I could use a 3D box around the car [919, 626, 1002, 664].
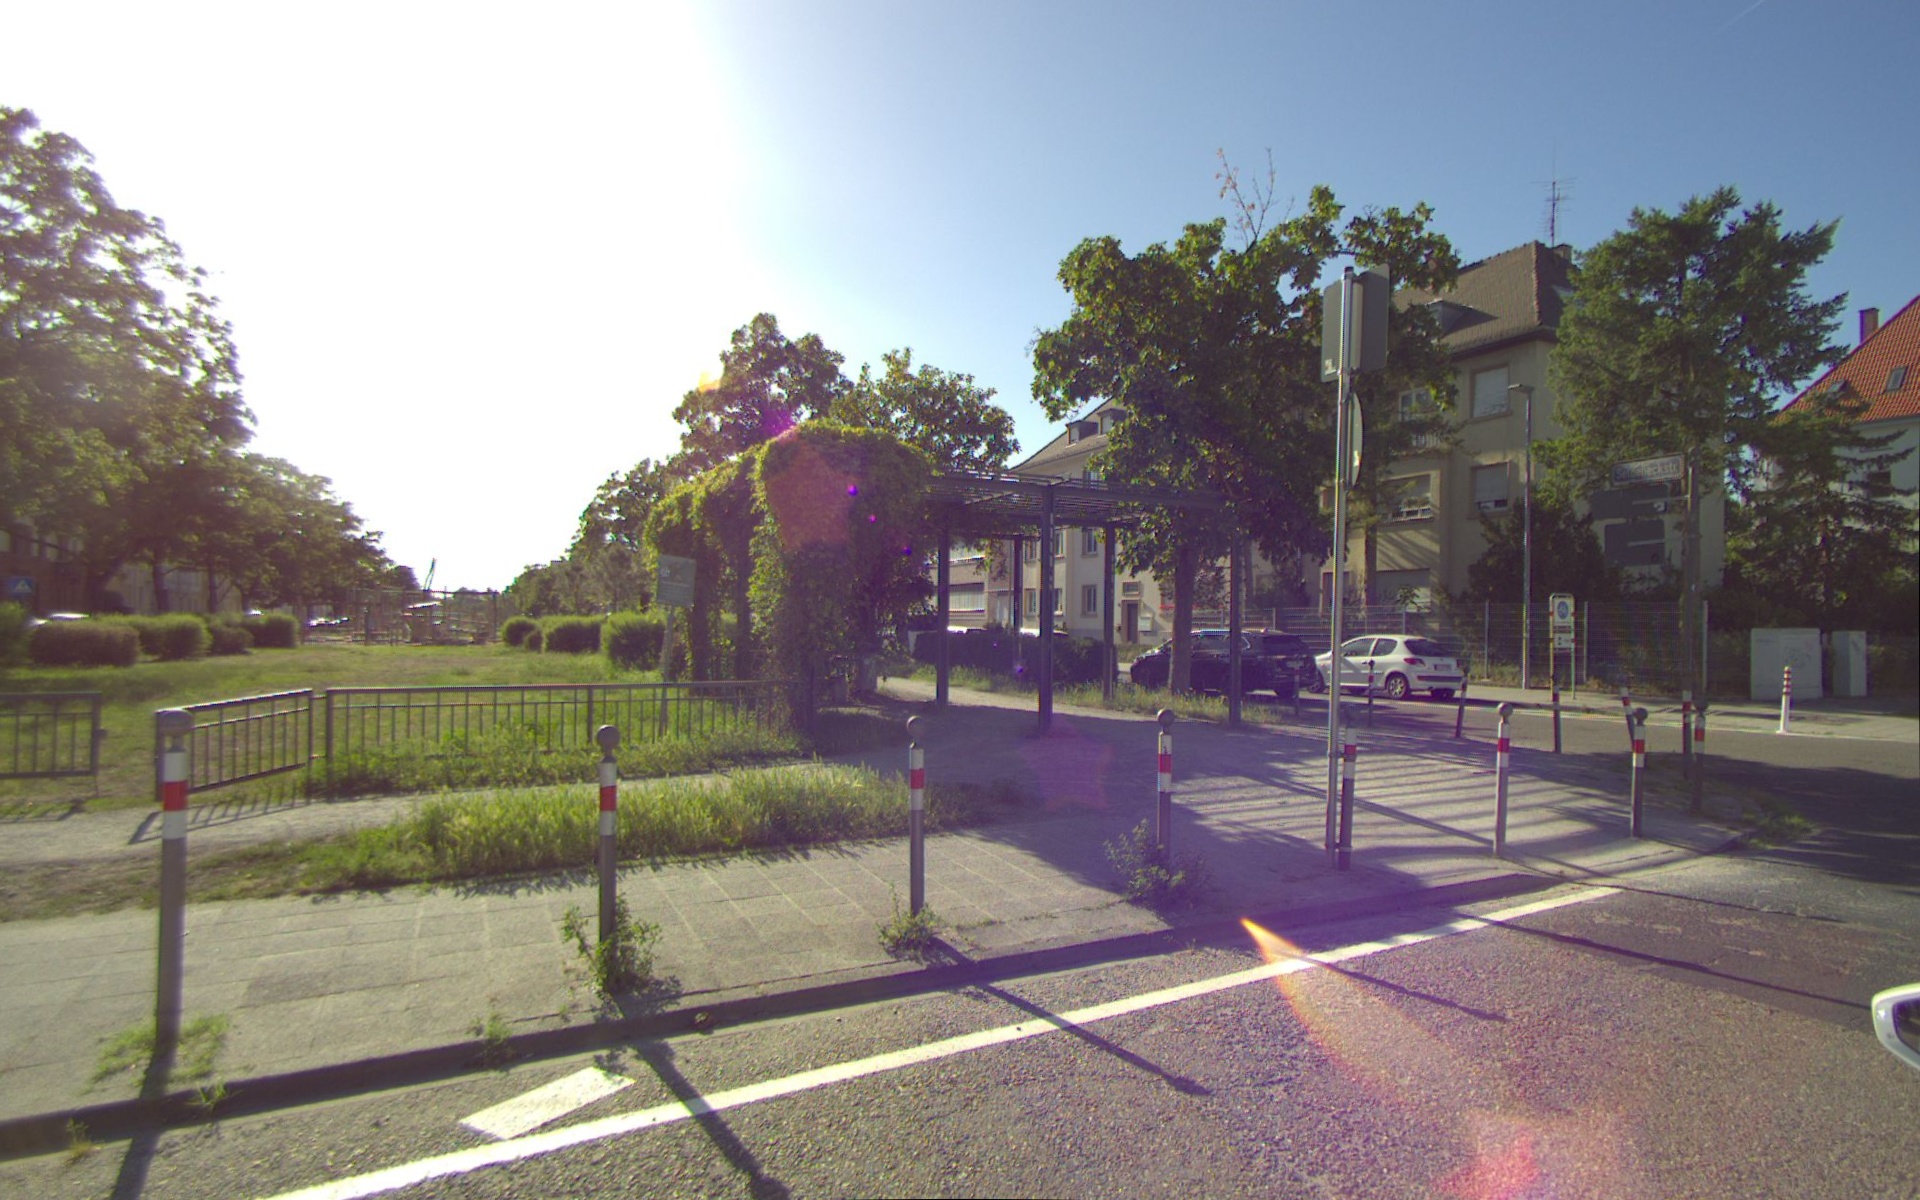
[{"bbox_3d":[-0.037,1.918,43.296,1.781,1.514,3.967,3,-2,-31],"label":"car"}]

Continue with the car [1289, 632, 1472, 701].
[{"bbox_3d":[9.658,1.493,23.355,1.685,1.416,3.751,2,-2,-27],"label":"car"}]

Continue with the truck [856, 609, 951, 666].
[{"bbox_3d":[-2.296,1.442,39.363,1.974,2.063,4.841,1,-2,-27],"label":"truck"}]

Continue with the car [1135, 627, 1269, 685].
[{"bbox_3d":[6.814,1.561,28.645,1.655,1.514,3.801,2,-2,-26],"label":"car"}]

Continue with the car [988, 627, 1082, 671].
[{"bbox_3d":[2.763,1.815,37.828,1.778,1.514,3.974,2,-2,-26],"label":"car"}]

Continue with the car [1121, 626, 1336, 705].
[{"bbox_3d":[5.871,1.378,22.561,1.976,1.545,4.720,1,-2,-29],"label":"car"}]
